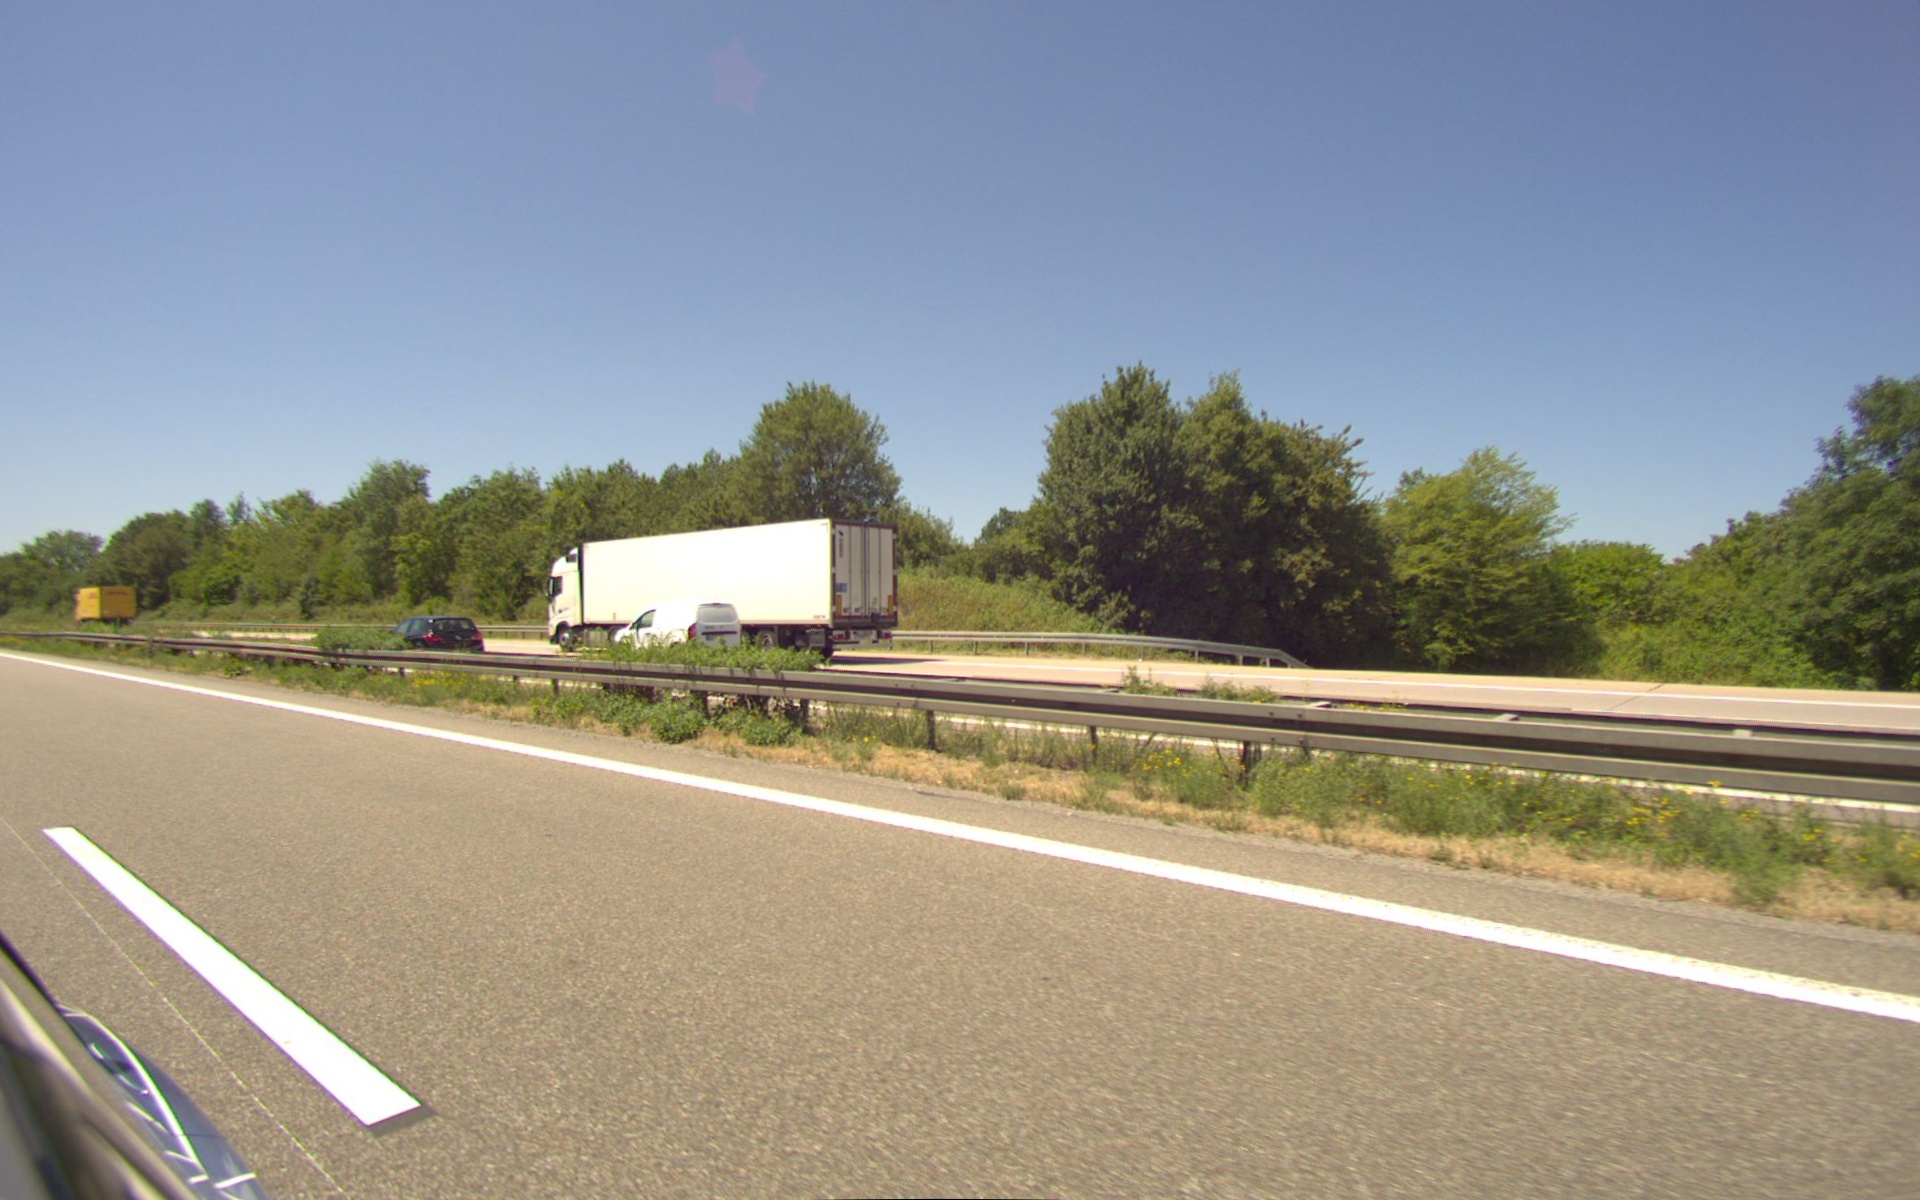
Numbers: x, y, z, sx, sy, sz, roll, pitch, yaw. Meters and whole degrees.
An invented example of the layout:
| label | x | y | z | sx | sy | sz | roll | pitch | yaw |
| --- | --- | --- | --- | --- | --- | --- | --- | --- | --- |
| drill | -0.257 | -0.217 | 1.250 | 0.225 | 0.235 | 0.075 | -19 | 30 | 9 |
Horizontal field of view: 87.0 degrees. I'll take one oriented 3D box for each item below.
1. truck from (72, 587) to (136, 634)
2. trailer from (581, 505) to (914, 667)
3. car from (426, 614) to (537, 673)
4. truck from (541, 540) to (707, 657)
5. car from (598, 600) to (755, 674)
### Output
| label | x | y | z | sx | sy | sz | roll | pitch | yaw |
| --- | --- | --- | --- | --- | --- | --- | --- | --- | --- |
| truck | -78.263 | 0.947 | 92.396 | 10.784 | 4.071 | 2.722 | 0 | 0 | 40 |
| trailer | -7.504 | -0.275 | 33.119 | 13.583 | 4.395 | 3.276 | -1 | -1 | 42 |
| car | -12.572 | 1.102 | 26.512 | 3.454 | 1.438 | 1.359 | -1 | -1 | 41 |
| truck | -12.560 | -0.015 | 37.602 | 6.098 | 3.981 | 3.226 | -1 | 0 | 42 |
| car | -7.950 | 0.983 | 28.098 | 4.875 | 1.890 | 1.797 | -1 | -1 | 40 |
